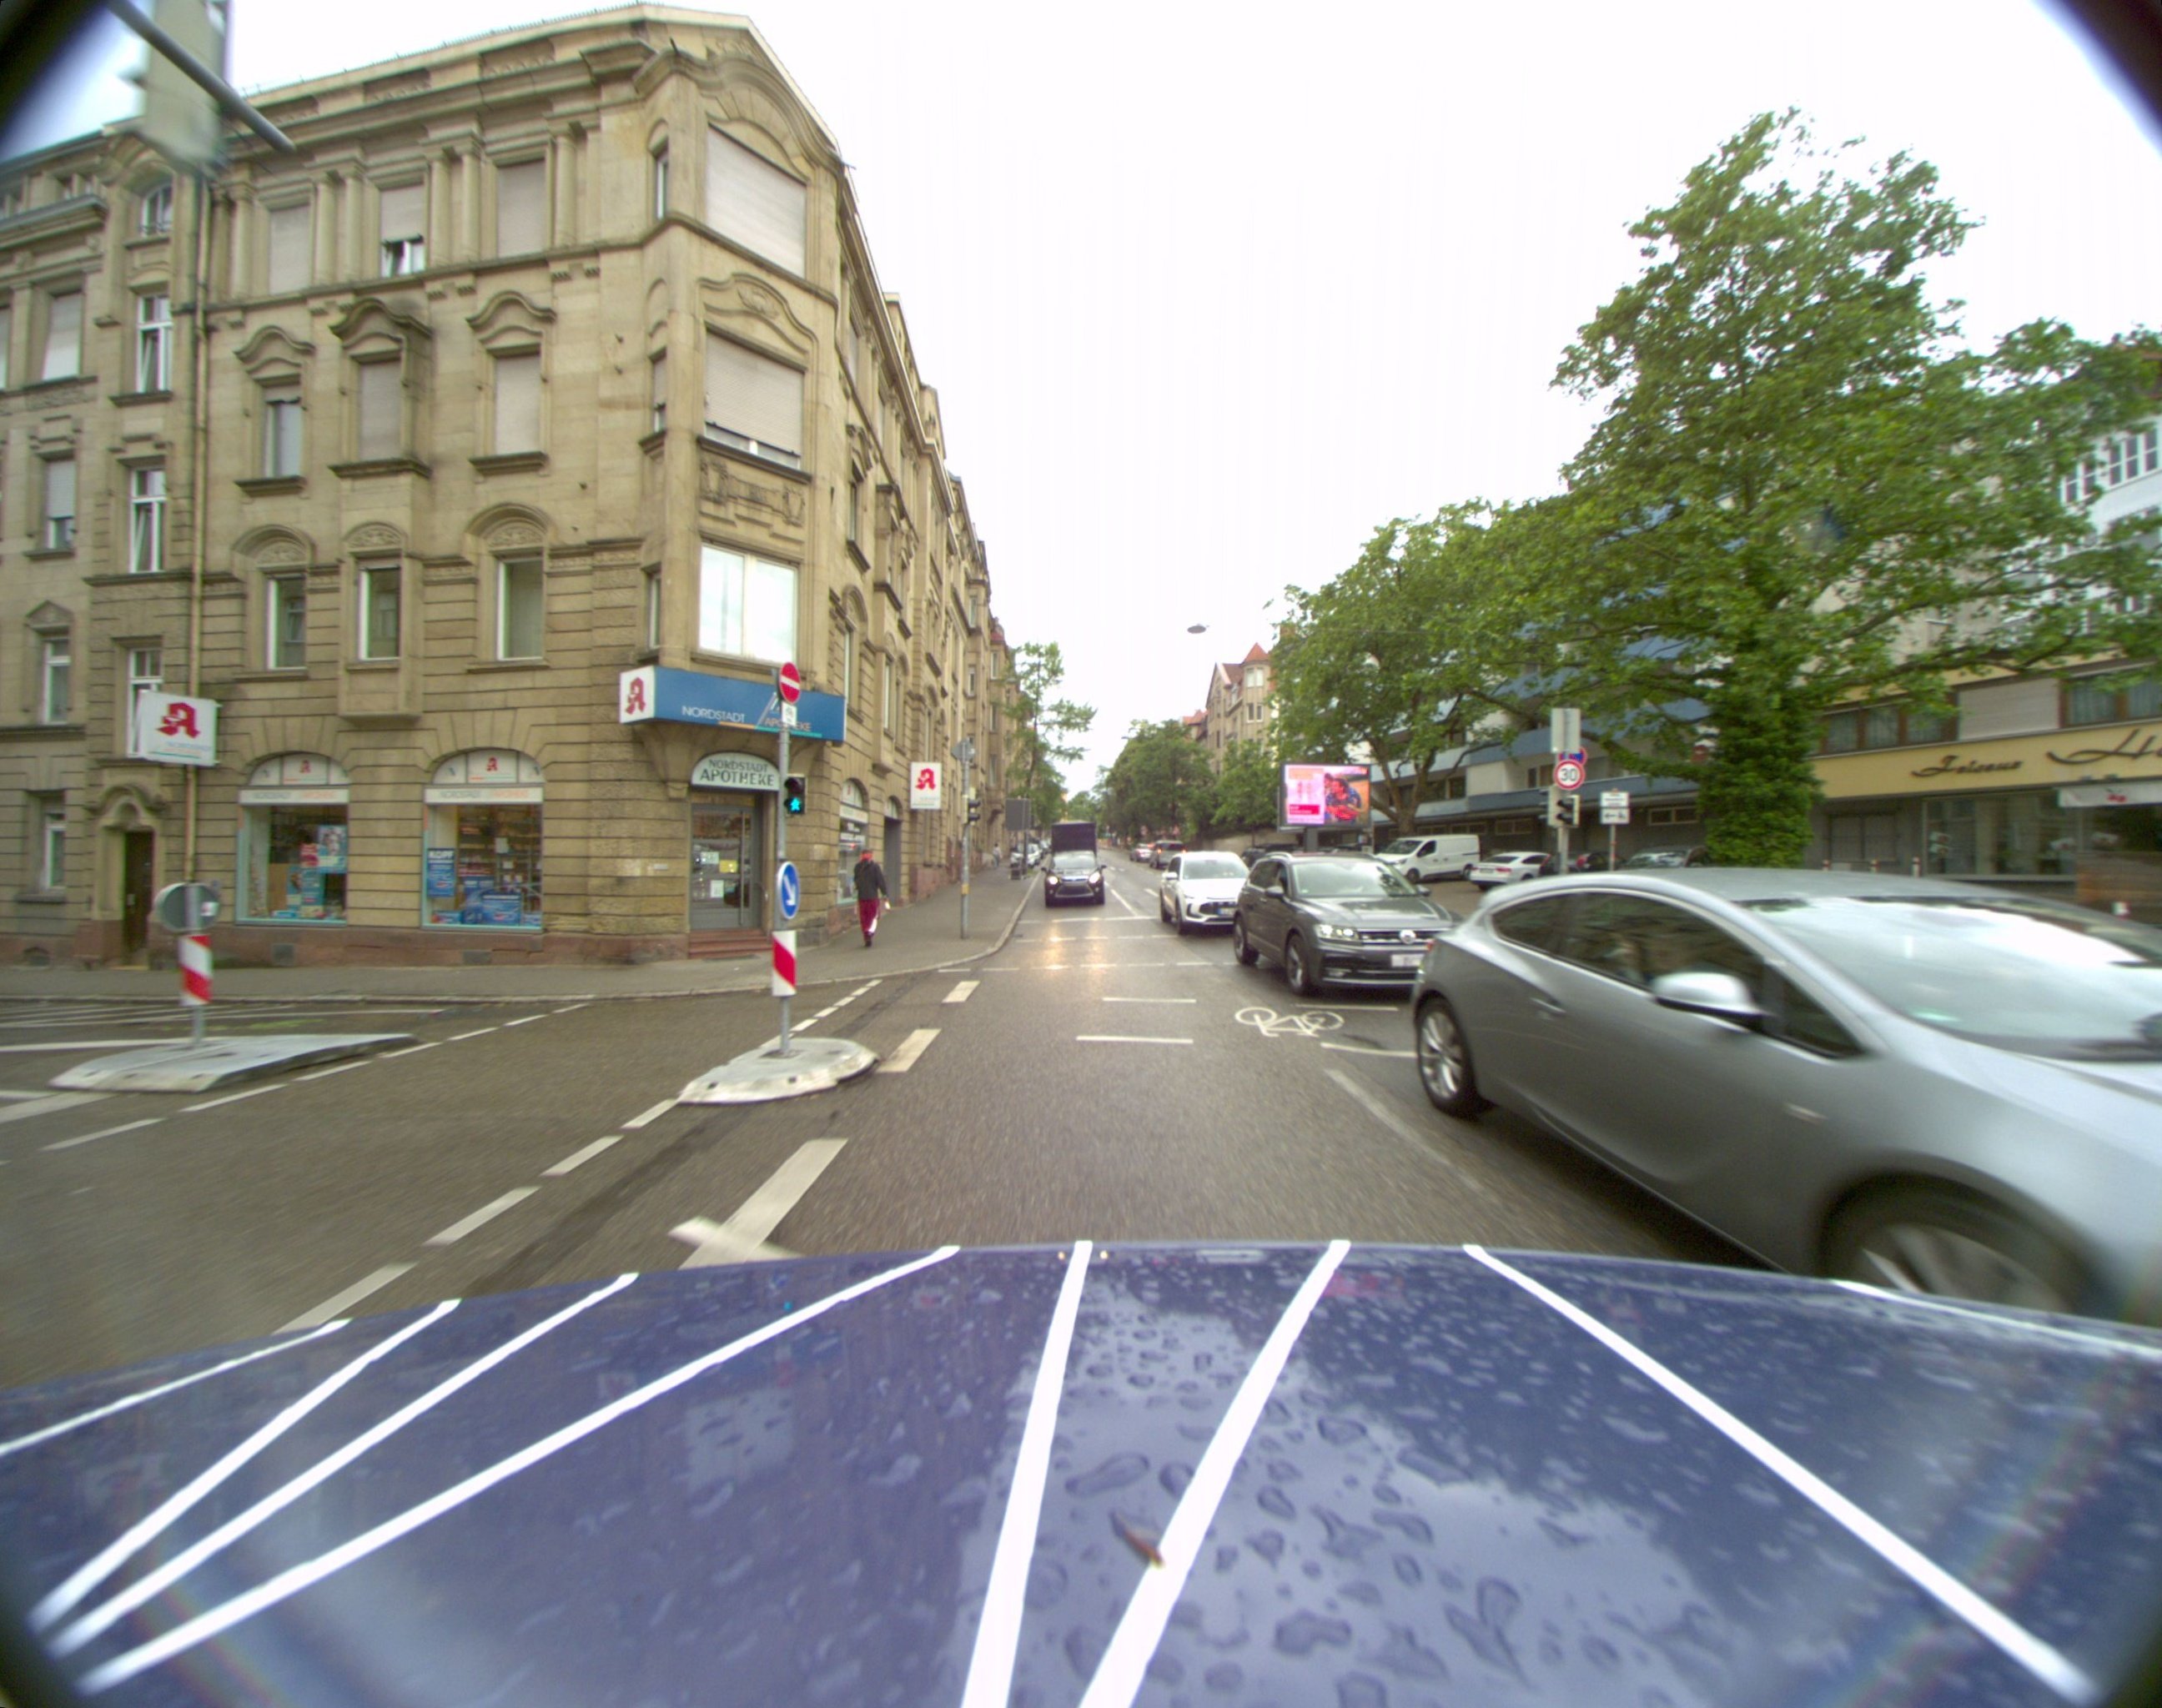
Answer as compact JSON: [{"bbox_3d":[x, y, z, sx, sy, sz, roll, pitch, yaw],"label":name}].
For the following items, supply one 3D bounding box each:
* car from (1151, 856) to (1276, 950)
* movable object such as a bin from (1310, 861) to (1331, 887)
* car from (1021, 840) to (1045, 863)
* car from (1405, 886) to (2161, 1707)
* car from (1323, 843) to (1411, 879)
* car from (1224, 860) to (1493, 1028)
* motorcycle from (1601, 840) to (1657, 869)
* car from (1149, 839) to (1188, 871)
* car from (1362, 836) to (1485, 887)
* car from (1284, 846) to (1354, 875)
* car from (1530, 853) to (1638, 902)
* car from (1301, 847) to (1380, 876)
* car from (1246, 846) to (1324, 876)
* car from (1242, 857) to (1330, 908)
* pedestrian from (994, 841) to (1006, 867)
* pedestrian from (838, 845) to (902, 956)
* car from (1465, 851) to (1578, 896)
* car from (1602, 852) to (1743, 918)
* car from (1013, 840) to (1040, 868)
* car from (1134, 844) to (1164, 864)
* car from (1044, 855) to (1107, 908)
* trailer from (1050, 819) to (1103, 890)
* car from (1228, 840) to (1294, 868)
[{"bbox_3d":[2.721,0.927,16.622,1.757,1.635,4.376,-1,1,-3],"label":"car"},{"bbox_3d":[10.221,0.835,32.459,0.643,1.073,0.627,-1,2,-4],"label":"movable object such as a bin"},{"bbox_3d":[-3.463,-0.212,55.334,1.547,1.478,3.761,4,1,-2],"label":"car"},{"bbox_3d":[2.932,0.963,2.755,1.756,1.474,4.180,-1,0,0],"label":"car"},{"bbox_3d":[14.136,0.311,37.632,3.840,1.680,1.803,-1,2,-20],"label":"car"},{"bbox_3d":[3.175,0.930,9.703,1.757,1.634,4.212,-1,-1,-2],"label":"car"},{"bbox_3d":[23.326,0.013,32.405,0.704,1.161,1.958,-1,2,-12],"label":"motorcycle"},{"bbox_3d":[5.538,0.006,48.469,1.818,1.871,4.240,3,1,-2],"label":"car"},{"bbox_3d":[14.690,0.270,32.588,4.981,1.966,1.876,-2,2,-21],"label":"car"},{"bbox_3d":[13.551,0.333,43.146,3.841,1.398,1.676,-4,3,-32],"label":"car"},{"bbox_3d":[16.850,0.722,25.424,3.627,1.408,1.627,-2,2,-31],"label":"car"},{"bbox_3d":[13.949,0.363,40.803,3.840,1.397,1.688,-1,2,-22],"label":"car"},{"bbox_3d":[12.100,0.377,45.131,4.317,1.584,1.807,-3,3,-25],"label":"car"},{"bbox_3d":[6.688,0.883,25.187,1.718,1.488,3.681,2,0,-2],"label":"car"},{"bbox_3d":[-4.872,-0.021,45.758,0.645,1.489,0.690,3,5,-2],"label":"pedestrian"},{"bbox_3d":[-3.848,0.823,13.926,0.699,1.938,1.091,-1,2,6],"label":"pedestrian"},{"bbox_3d":[15.986,0.663,27.568,3.710,1.408,1.808,-2,2,-27],"label":"car"},{"bbox_3d":[17.665,0.843,22.663,4.223,1.633,1.936,-2,2,-31],"label":"car"},{"bbox_3d":[-3.544,-0.042,49.570,1.526,1.609,3.491,4,2,-2],"label":"car"},{"bbox_3d":[5.360,-0.035,60.511,1.731,1.440,4.323,2,1,-3],"label":"car"},{"bbox_3d":[-0.131,0.828,24.388,1.862,1.504,3.681,0,1,1],"label":"car"},{"bbox_3d":[-0.169,-0.011,30.589,1.938,2.622,4.683,-1,1,0],"label":"trailer"},{"bbox_3d":[11.535,-0.043,48.654,3.841,1.523,1.766,-4,3,-29],"label":"car"}]
